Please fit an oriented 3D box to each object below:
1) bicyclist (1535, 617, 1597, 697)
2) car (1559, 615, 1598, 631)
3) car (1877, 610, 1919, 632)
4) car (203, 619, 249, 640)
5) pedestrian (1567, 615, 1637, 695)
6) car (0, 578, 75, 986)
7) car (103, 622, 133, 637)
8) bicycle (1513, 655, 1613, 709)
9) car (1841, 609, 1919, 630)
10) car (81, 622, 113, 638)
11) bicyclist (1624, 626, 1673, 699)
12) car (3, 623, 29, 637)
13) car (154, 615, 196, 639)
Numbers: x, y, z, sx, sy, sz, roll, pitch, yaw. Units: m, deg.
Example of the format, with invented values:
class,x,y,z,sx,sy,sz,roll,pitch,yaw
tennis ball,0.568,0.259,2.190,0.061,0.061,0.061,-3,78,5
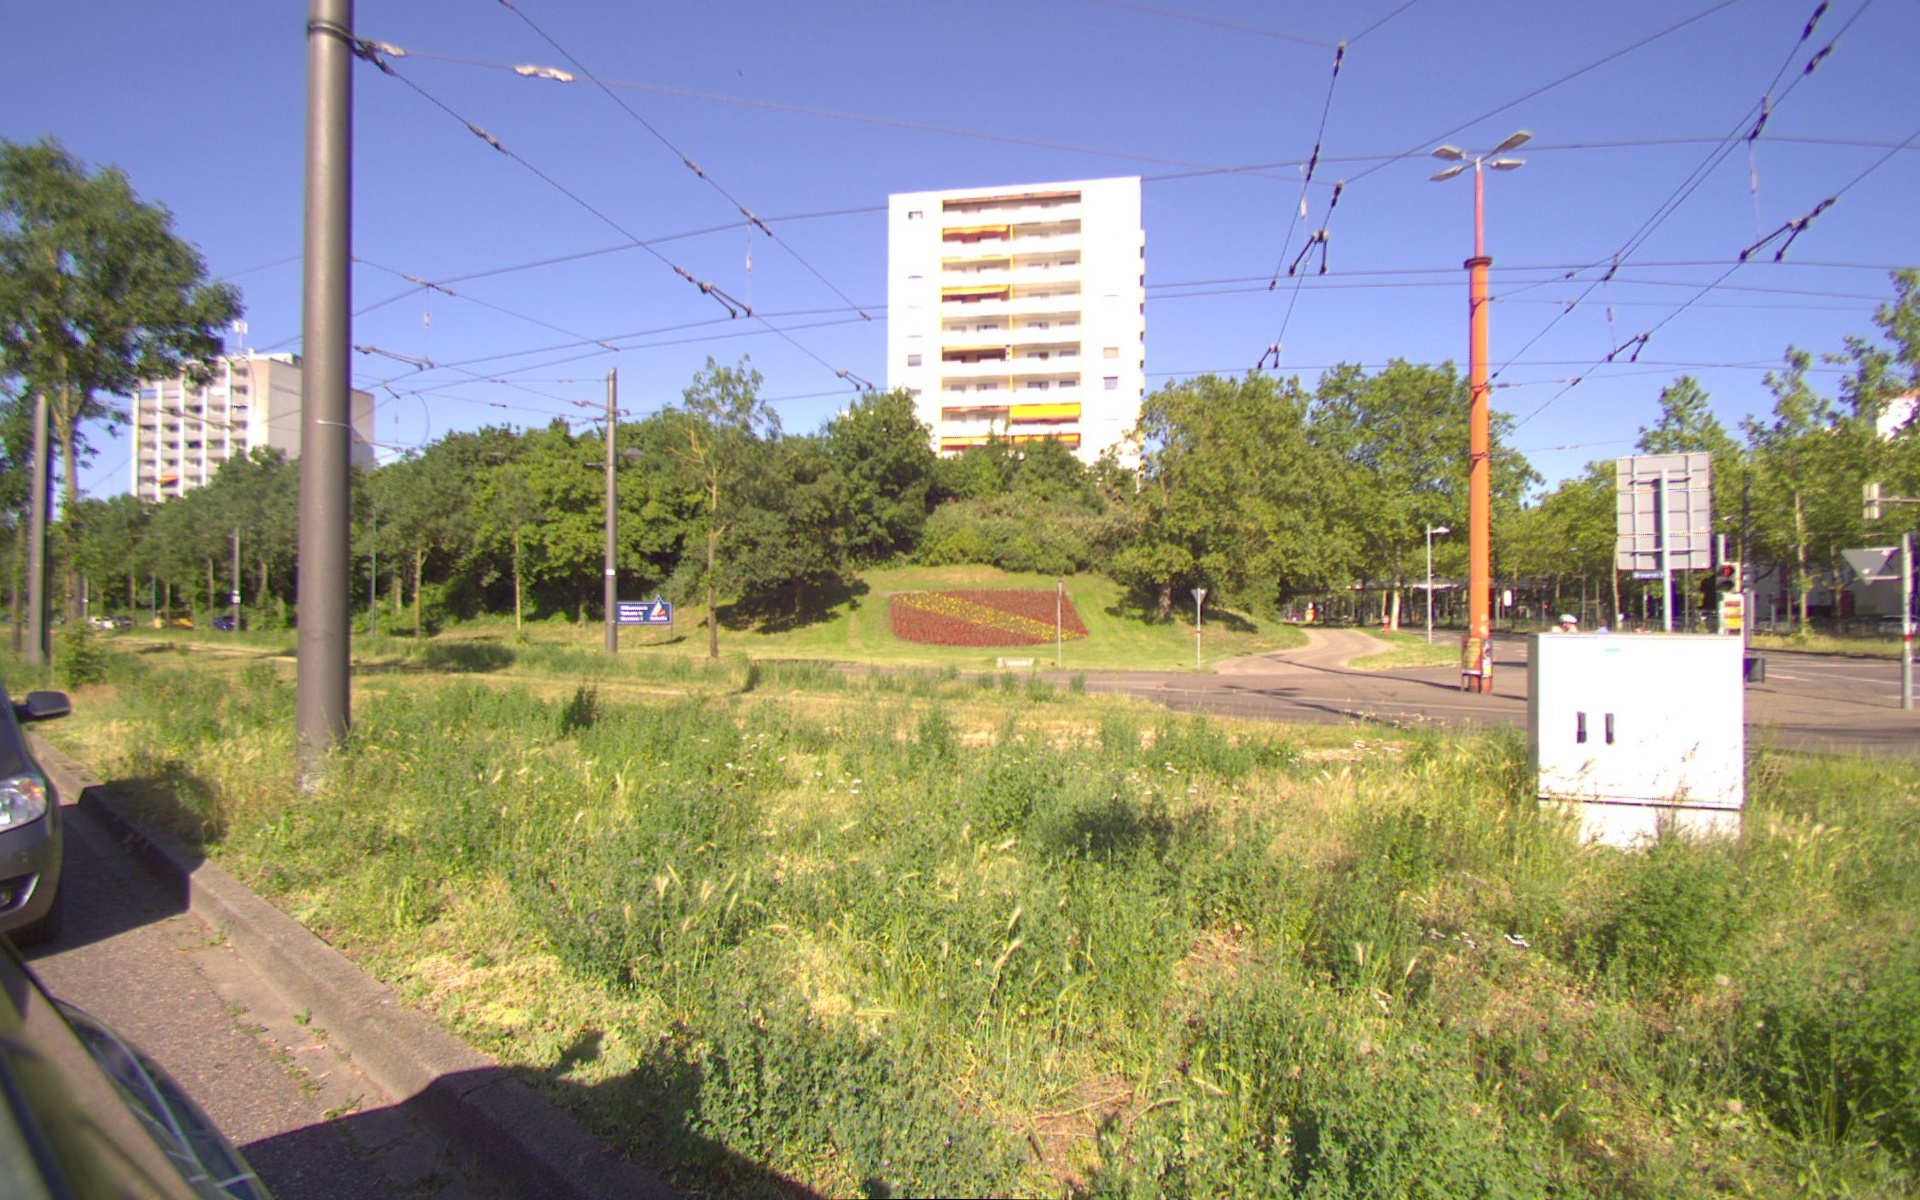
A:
class,x,y,z,sx,sy,sz,roll,pitch,yaw
bicyclist,12.129,1.126,20.263,0.719,1.557,0.770,0,-2,-20
car,79.733,3.014,130.488,3.969,2.029,1.987,-1,-1,20
car,64.890,1.412,68.405,1.770,1.420,4.010,1,-1,-36
car,-55.583,2.217,76.625,4.105,1.586,1.973,-1,-2,41
pedestrian,14.719,1.243,23.226,0.941,1.807,0.988,0,-1,0
car,-5.734,0.753,4.849,3.879,1.634,1.737,-1,-2,41
car,-80.281,2.840,96.501,4.000,1.386,1.756,-1,-2,43
bicycle,12.090,1.627,20.350,0.673,0.968,1.650,0,-1,-20
car,65.878,1.391,72.387,1.770,1.420,4.010,1,-1,-36
car,-76.625,2.643,89.814,4.020,1.418,1.671,-2,-2,42
bicyclist,13.436,1.212,19.746,0.435,1.391,0.631,0,-2,-20
car,-101.891,3.247,109.196,4.310,1.427,1.775,-1,-2,43
car,-66.806,2.303,86.088,4.905,1.981,1.973,-1,-2,41
